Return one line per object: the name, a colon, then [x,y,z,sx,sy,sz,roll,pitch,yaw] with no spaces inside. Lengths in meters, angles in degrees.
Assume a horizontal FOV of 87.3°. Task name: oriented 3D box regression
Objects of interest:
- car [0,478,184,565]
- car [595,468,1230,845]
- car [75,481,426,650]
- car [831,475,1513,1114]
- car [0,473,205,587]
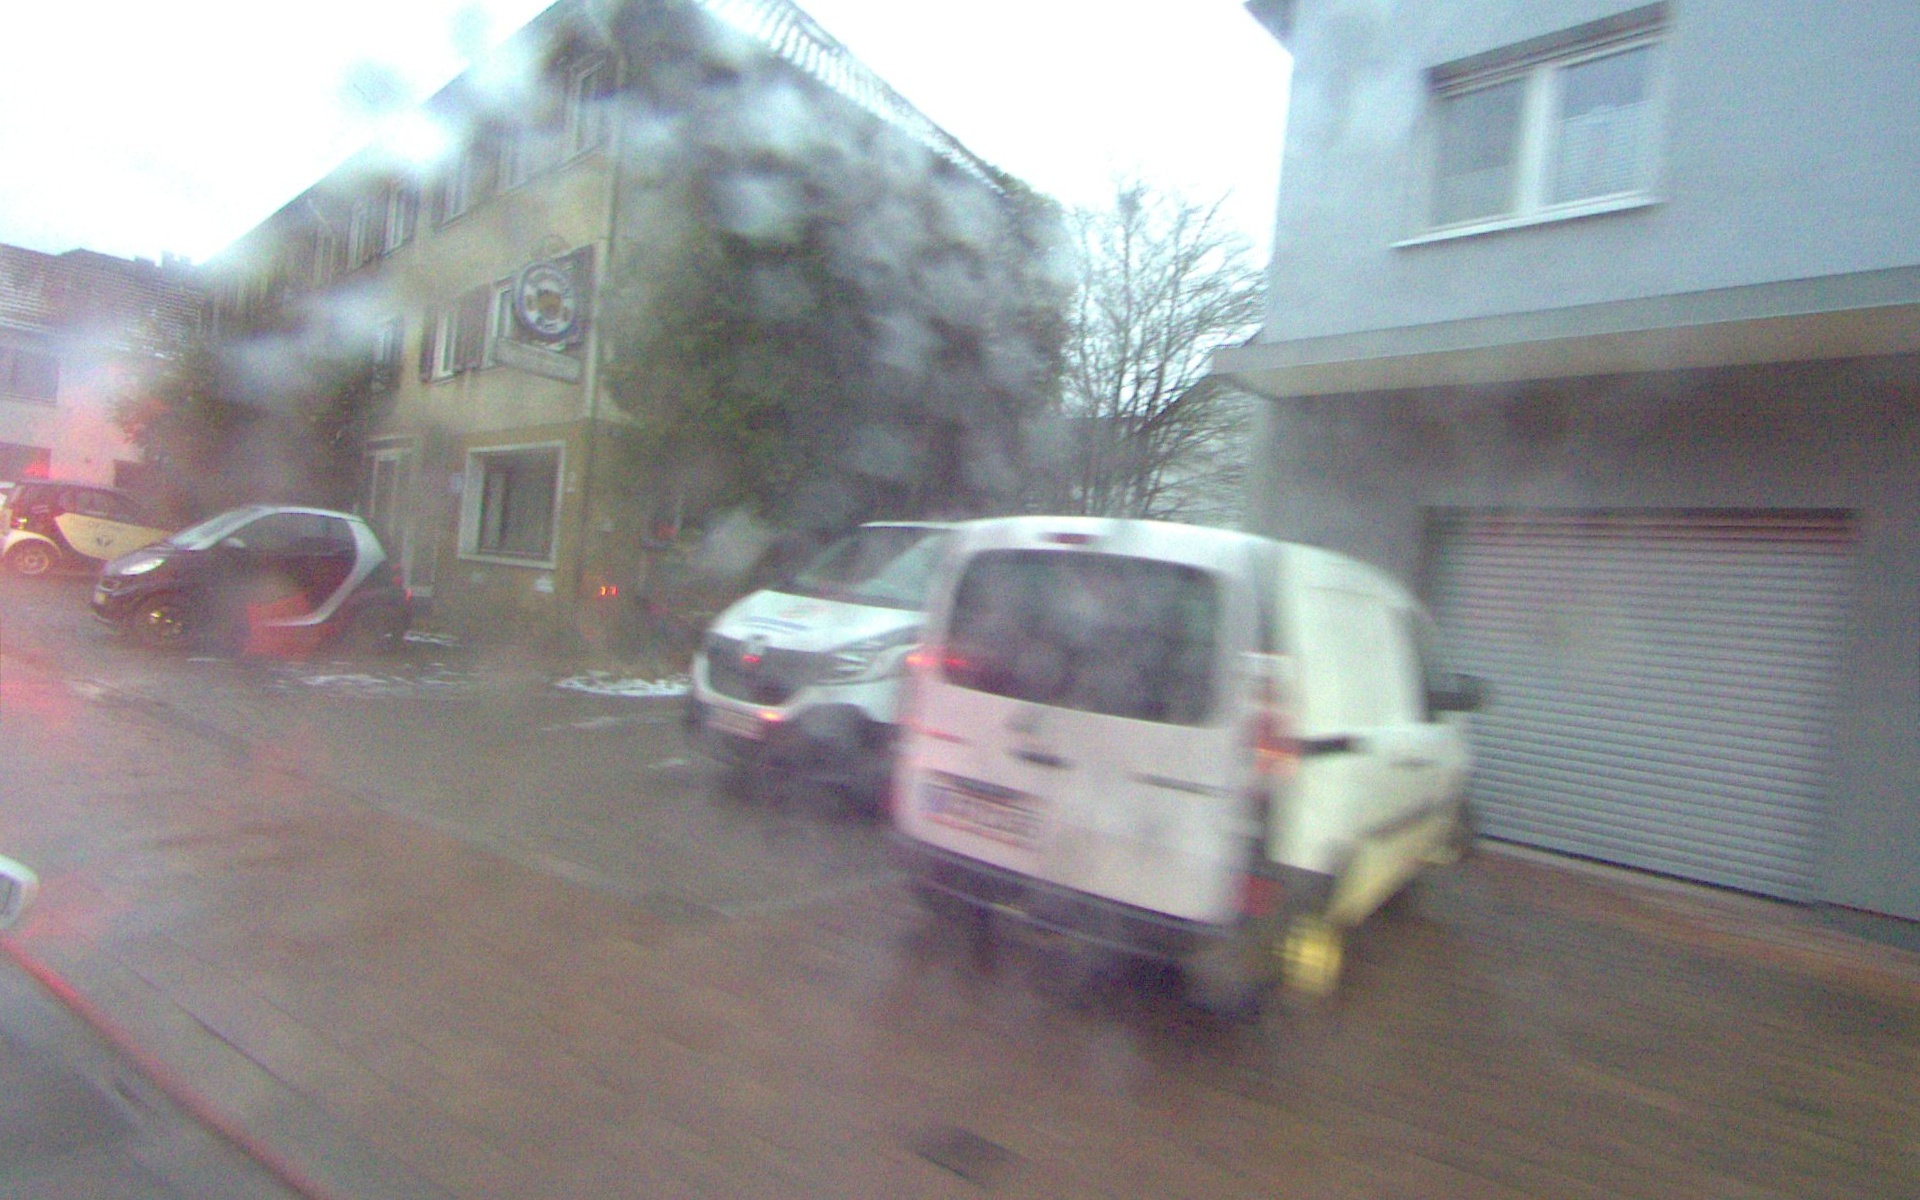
car: [-19.230,-1.717,21.527,1.727,1.493,3.890,7,1,42]
car: [0.048,0.342,7.698,1.908,1.914,4.974,8,2,38]
car: [-7.526,-0.315,10.811,1.406,1.493,2.759,7,1,40]
car: [1.456,0.606,5.150,1.834,1.867,4.040,7,1,35]
car: [-14.465,-1.153,16.843,1.528,1.567,2.579,8,2,40]
